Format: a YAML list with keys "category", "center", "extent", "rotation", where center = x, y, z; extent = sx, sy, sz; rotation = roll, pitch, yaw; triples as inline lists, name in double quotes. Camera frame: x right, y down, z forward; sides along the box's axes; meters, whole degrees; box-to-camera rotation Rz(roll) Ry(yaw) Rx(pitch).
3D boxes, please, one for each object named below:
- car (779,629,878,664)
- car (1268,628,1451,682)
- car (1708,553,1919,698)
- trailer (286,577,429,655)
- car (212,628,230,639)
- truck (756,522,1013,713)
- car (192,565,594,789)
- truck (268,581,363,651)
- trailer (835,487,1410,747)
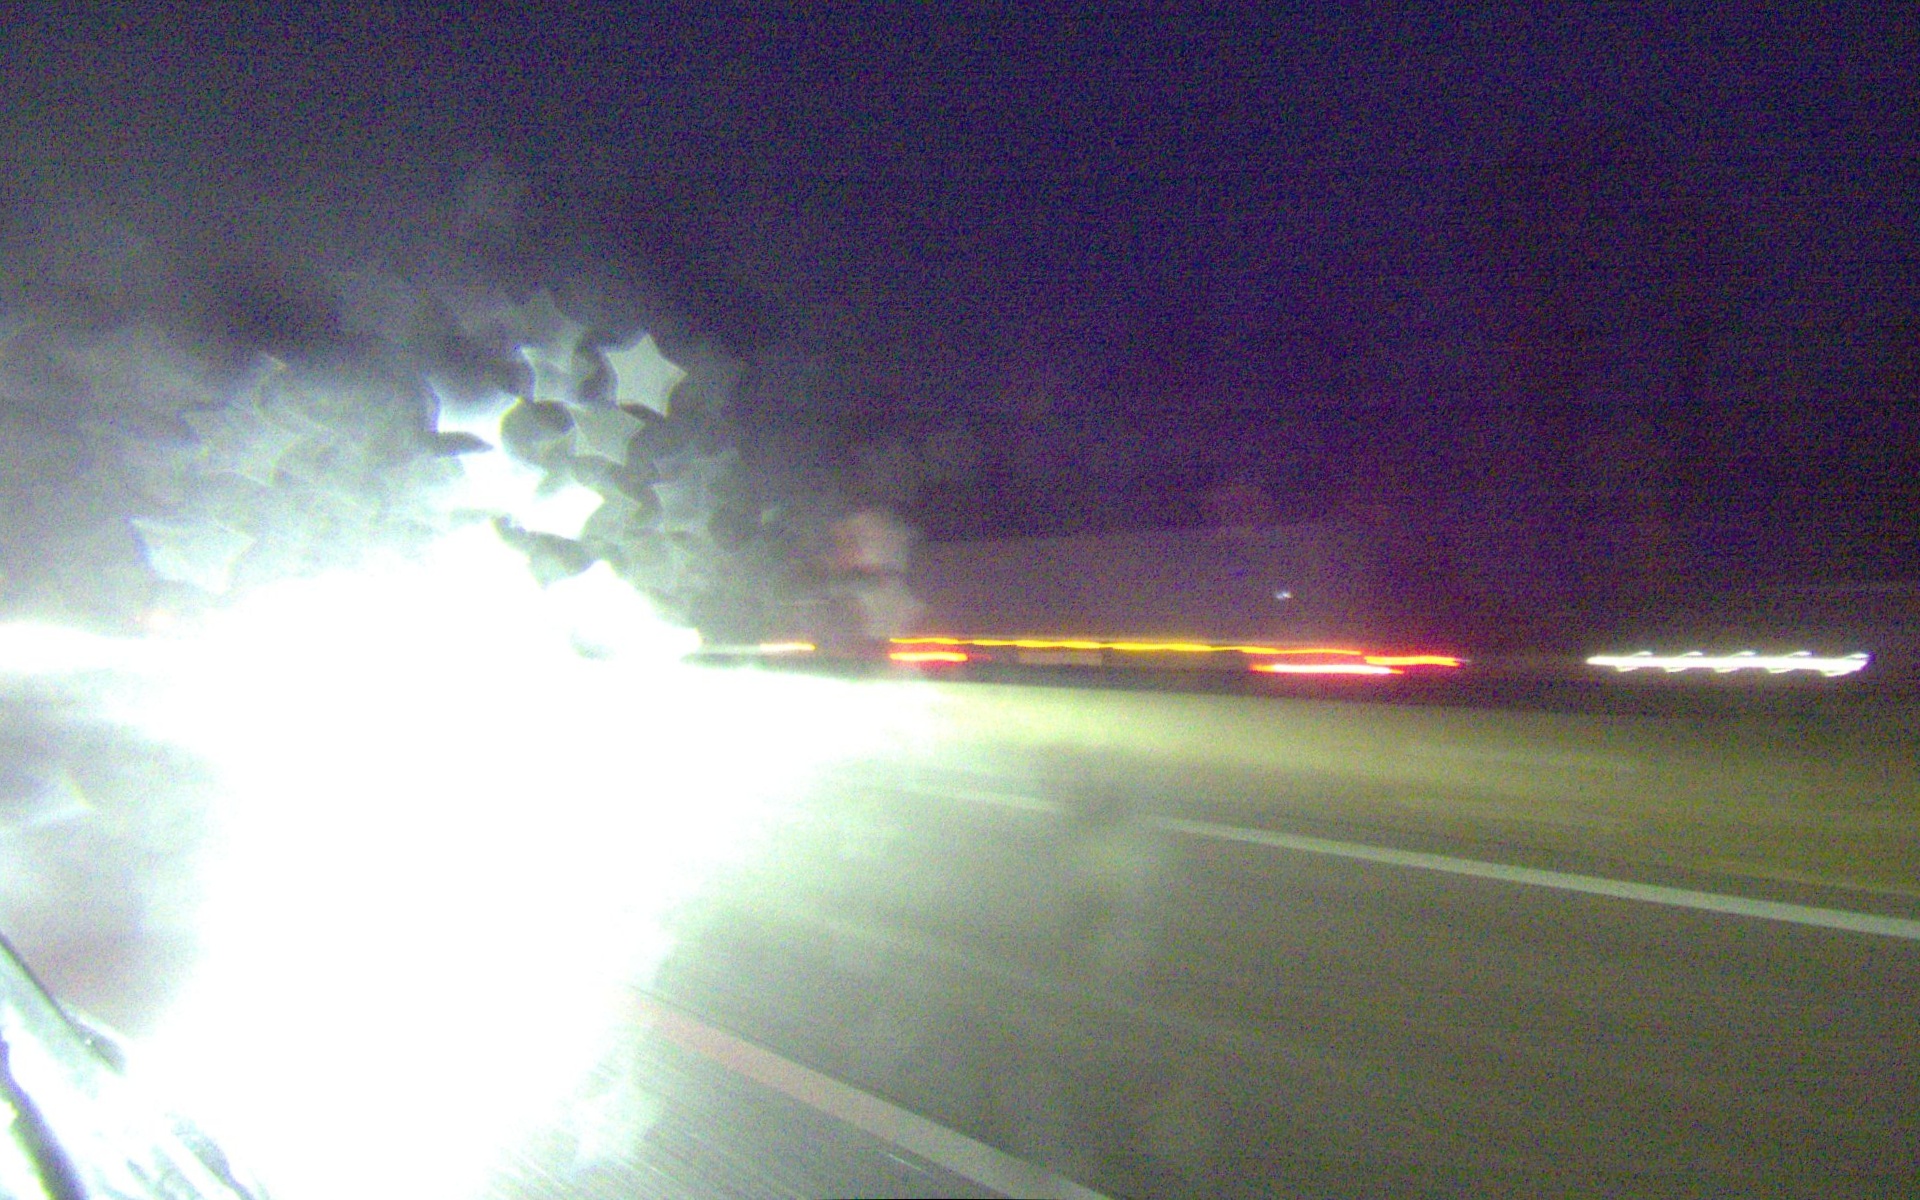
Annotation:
- category: "car"
  center: [-5.963, 2.083, 45.507]
  extent: [4.794, 1.434, 1.595]
  rotation: [-1, -4, 41]
- category: "car"
  center: [11.219, 1.531, 28.611]
  extent: [4.591, 1.388, 1.543]
  rotation: [-1, -4, 41]
- category: "car"
  center: [11.599, 0.328, 11.731]
  extent: [4.591, 1.611, 1.973]
  rotation: [-1, -4, 41]
- category: "trailer"
  center: [-32.799, 0.905, 54.741]
  extent: [12.010, 3.777, 2.669]
  rotation: [-1, -4, 40]
- category: "car"
  center: [-128.949, 5.847, 176.555]
  extent: [1.971, 1.785, 4.572]
  rotation: [0, -2, -45]
- category: "truck"
  center: [-2.374, 0.563, 29.546]
  extent: [7.573, 4.886, 2.892]
  rotation: [-1, -4, 41]
- category: "car"
  center: [-6.483, 0.704, 11.218]
  extent: [5.552, 1.899, 2.115]
  rotation: [-1, -2, 41]
- category: "truck"
  center: [-37.300, 0.961, 58.505]
  extent: [6.448, 3.788, 2.669]
  rotation: [-1, -4, 40]
- category: "trailer"
  center: [2.982, 0.474, 24.849]
  extent: [14.572, 4.886, 2.892]
  rotation: [-1, -4, 41]
